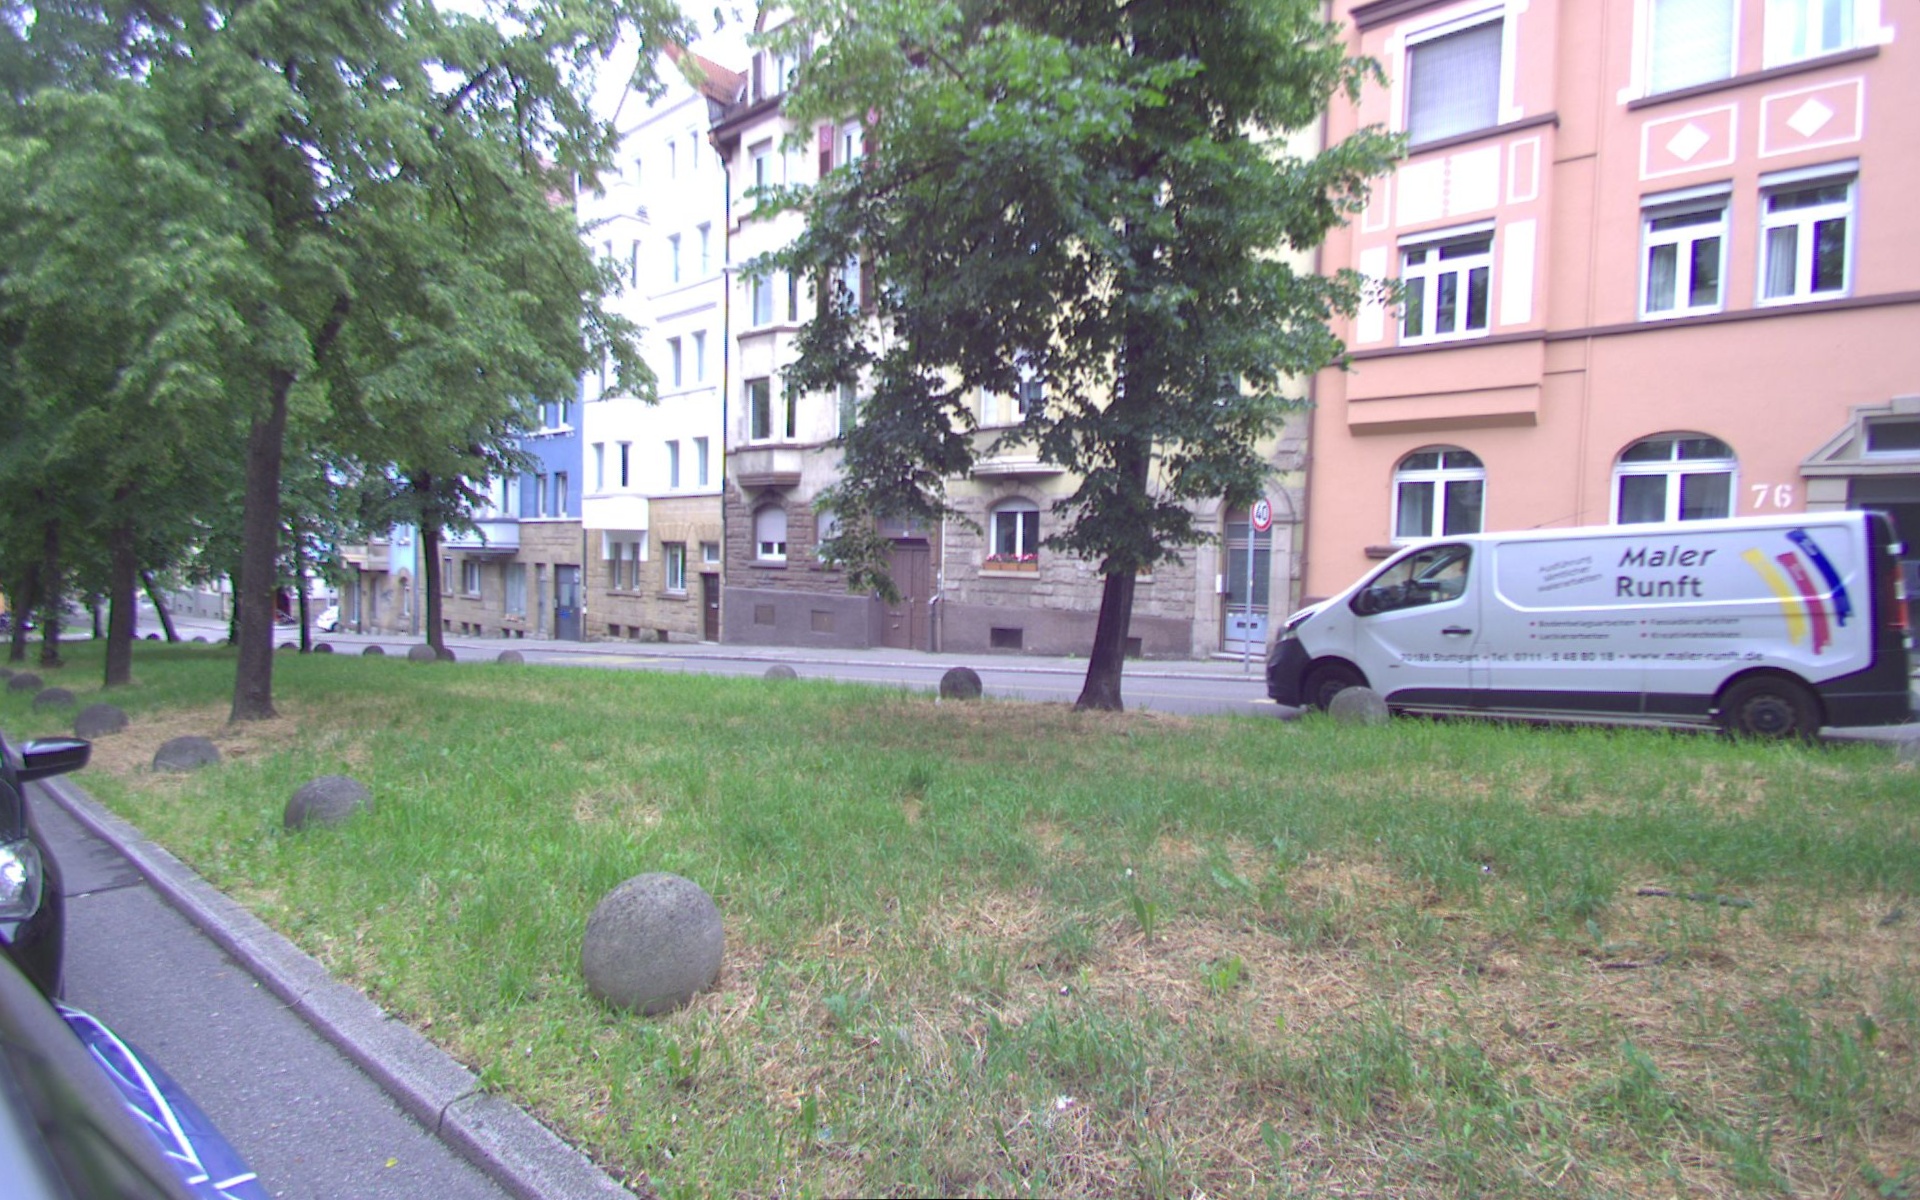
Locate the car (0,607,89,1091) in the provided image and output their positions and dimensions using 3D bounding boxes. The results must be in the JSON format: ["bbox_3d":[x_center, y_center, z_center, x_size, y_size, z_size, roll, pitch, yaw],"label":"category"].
[{"bbox_3d":[-4.565,0.762,3.725,3.295,1.476,1.590,-1,-2,41],"label":"car"}]

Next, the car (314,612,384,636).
[{"bbox_3d":[-35.328,1.367,58.515,3.244,1.341,1.674,-1,0,-40],"label":"car"}]

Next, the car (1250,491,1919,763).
[{"bbox_3d":[5.719,0.227,9.676,5.306,1.959,1.972,-2,0,42],"label":"car"}]
